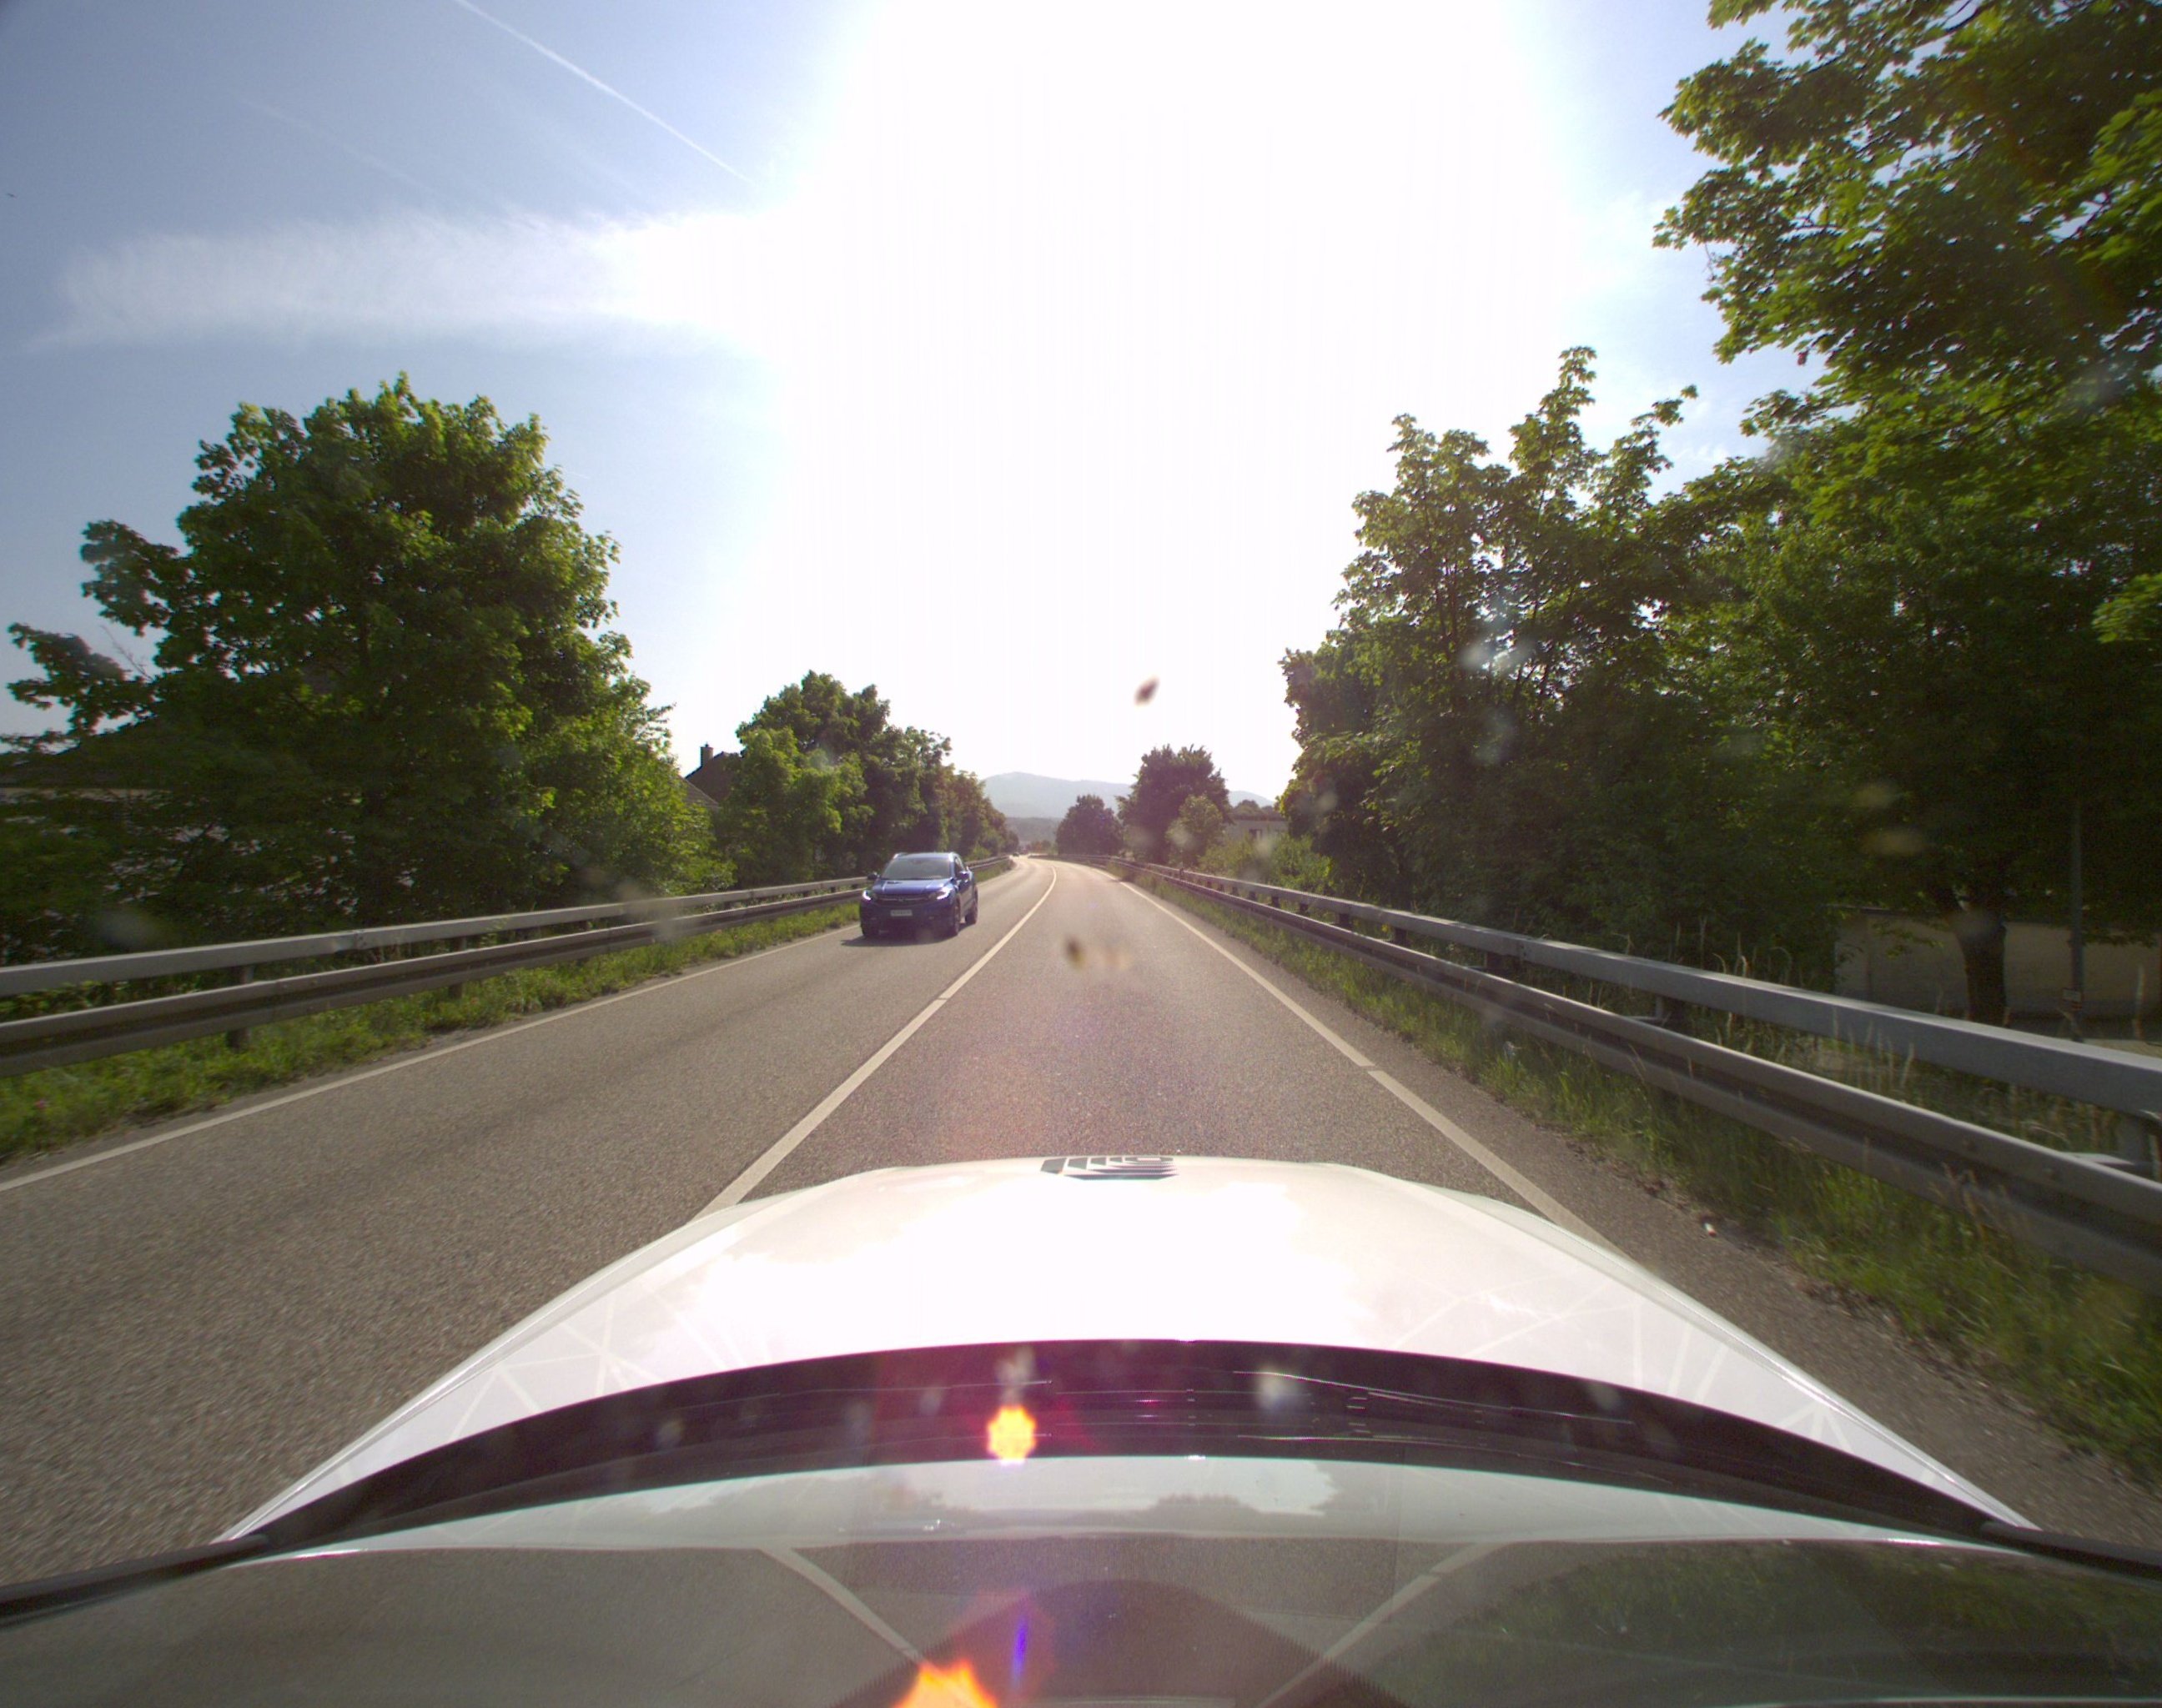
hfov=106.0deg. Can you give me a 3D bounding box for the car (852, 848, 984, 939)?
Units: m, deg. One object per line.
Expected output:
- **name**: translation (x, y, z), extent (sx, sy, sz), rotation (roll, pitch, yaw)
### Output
- **car**: translation (-3.163, 0.719, 16.593), extent (1.801, 1.561, 3.992), rotation (-2, 0, 0)

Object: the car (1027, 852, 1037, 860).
- **car**: translation (-12.672, 0.417, 210.601), extent (1.986, 2.014, 4.001), rotation (-1, -1, 2)
